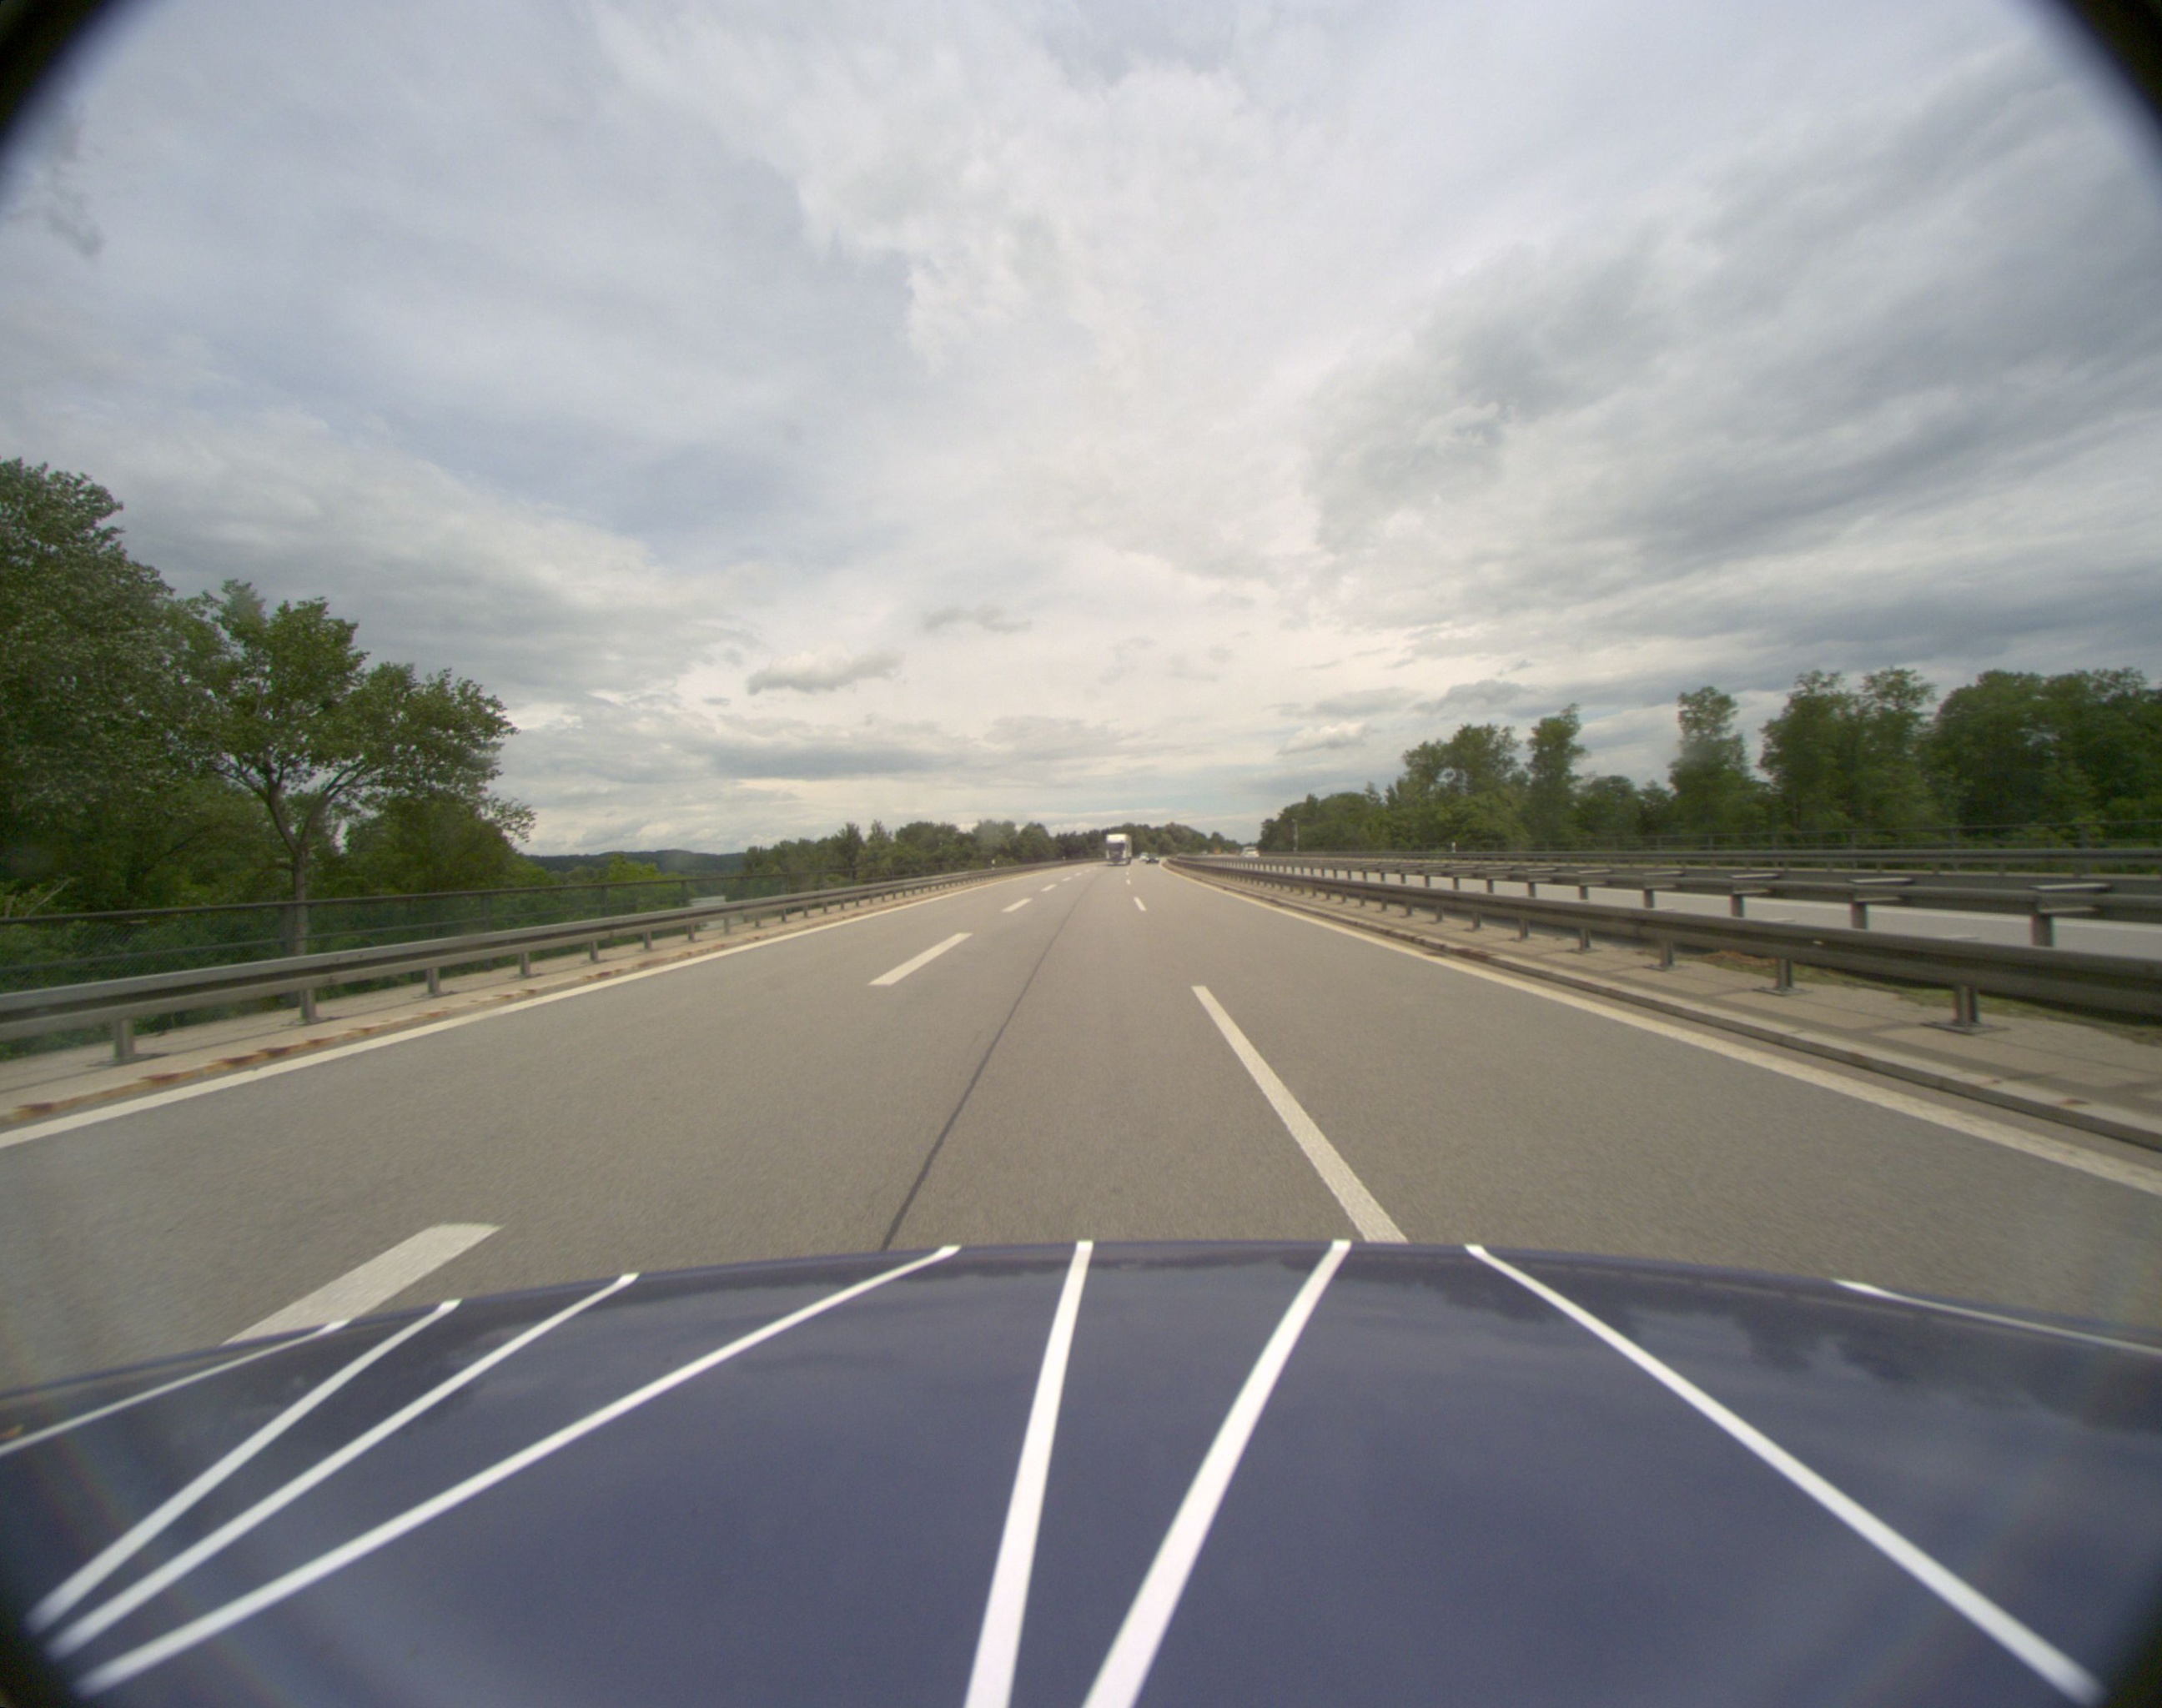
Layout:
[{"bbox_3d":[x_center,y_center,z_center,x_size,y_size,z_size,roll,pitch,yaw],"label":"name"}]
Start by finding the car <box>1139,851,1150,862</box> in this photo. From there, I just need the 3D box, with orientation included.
[{"bbox_3d":[11.477,0.496,136.278,1.774,1.813,4.167,-2,0,6],"label":"car"}]

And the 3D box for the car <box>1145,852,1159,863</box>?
[{"bbox_3d":[10.198,0.544,108.677,1.774,1.474,4.700,-1,-1,7],"label":"car"}]

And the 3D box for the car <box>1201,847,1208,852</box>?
[{"bbox_3d":[37.149,-1.371,228.418,1.775,1.379,4.389,-2,0,6],"label":"car"}]

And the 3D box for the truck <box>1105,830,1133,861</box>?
[{"bbox_3d":[4.987,-1.069,97.997,3.068,3.869,6.004,-1,0,7],"label":"truck"}]

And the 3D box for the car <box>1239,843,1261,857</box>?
[{"bbox_3d":[18.720,-0.421,84.308,1.535,1.398,4.329,-2,0,2],"label":"car"}]
